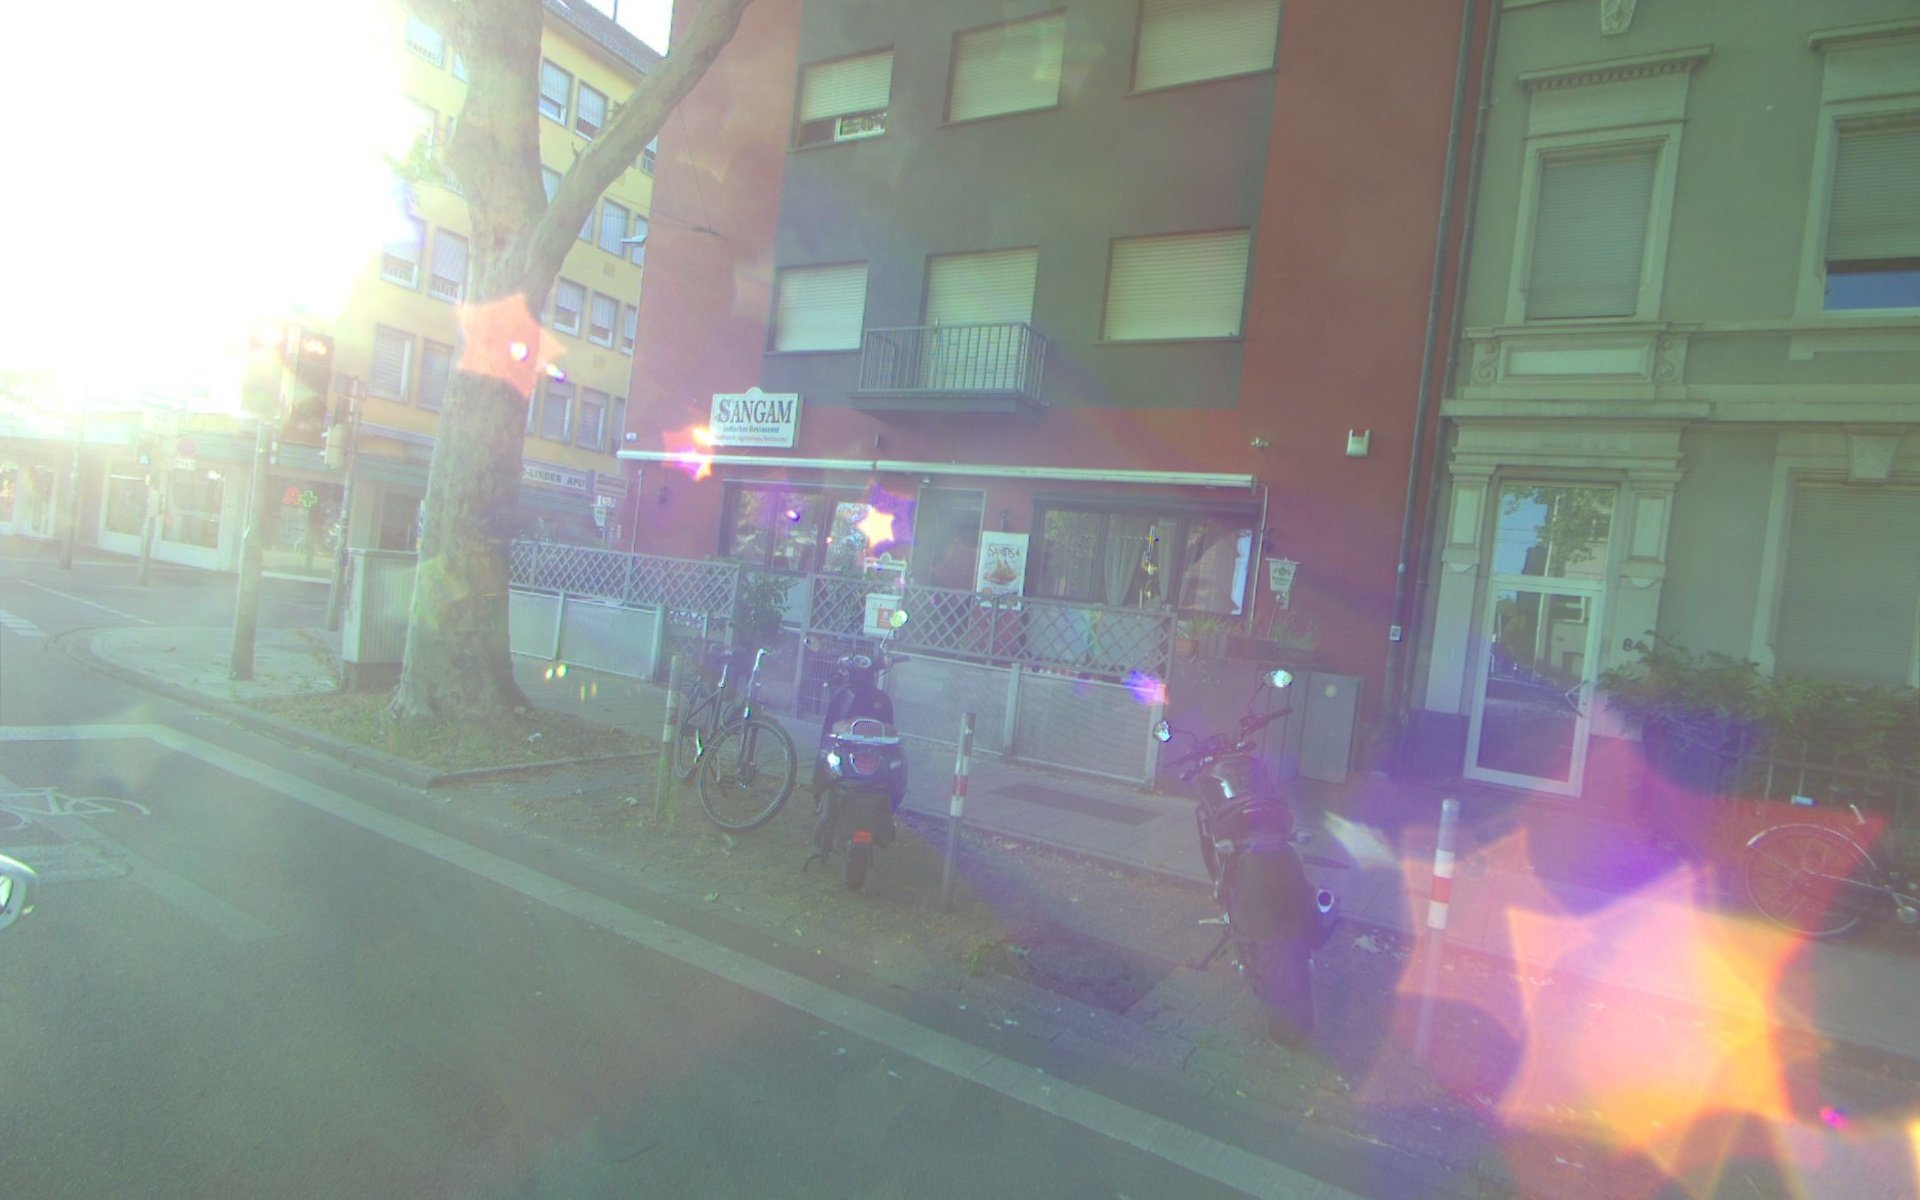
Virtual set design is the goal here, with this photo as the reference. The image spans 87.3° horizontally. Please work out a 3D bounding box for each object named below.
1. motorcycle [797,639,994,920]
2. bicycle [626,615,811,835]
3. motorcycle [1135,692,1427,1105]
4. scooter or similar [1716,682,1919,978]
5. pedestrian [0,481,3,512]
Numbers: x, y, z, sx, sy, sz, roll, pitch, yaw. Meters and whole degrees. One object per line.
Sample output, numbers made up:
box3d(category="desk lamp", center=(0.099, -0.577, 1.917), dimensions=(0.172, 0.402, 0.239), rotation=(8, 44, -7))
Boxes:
box3d(category="motorcycle", center=(-0.452, 0.911, 5.741), dimensions=(0.772, 1.126, 1.884), rotation=(6, 2, -11))
box3d(category="bicycle", center=(-1.704, 0.781, 6.863), dimensions=(0.614, 1.126, 1.784), rotation=(5, 3, -31))
box3d(category="motorcycle", center=(1.310, 1.150, 4.629), dimensions=(0.651, 1.125, 2.212), rotation=(7, 2, 4))
box3d(category="scooter or similar", center=(5.780, 1.357, 5.442), dimensions=(2.502, 1.488, 0.665), rotation=(7, 1, 32))
box3d(category="pedestrian", center=(-27.367, -2.492, 28.007), dimensions=(0.880, 1.803, 0.744), rotation=(8, 2, 32))
